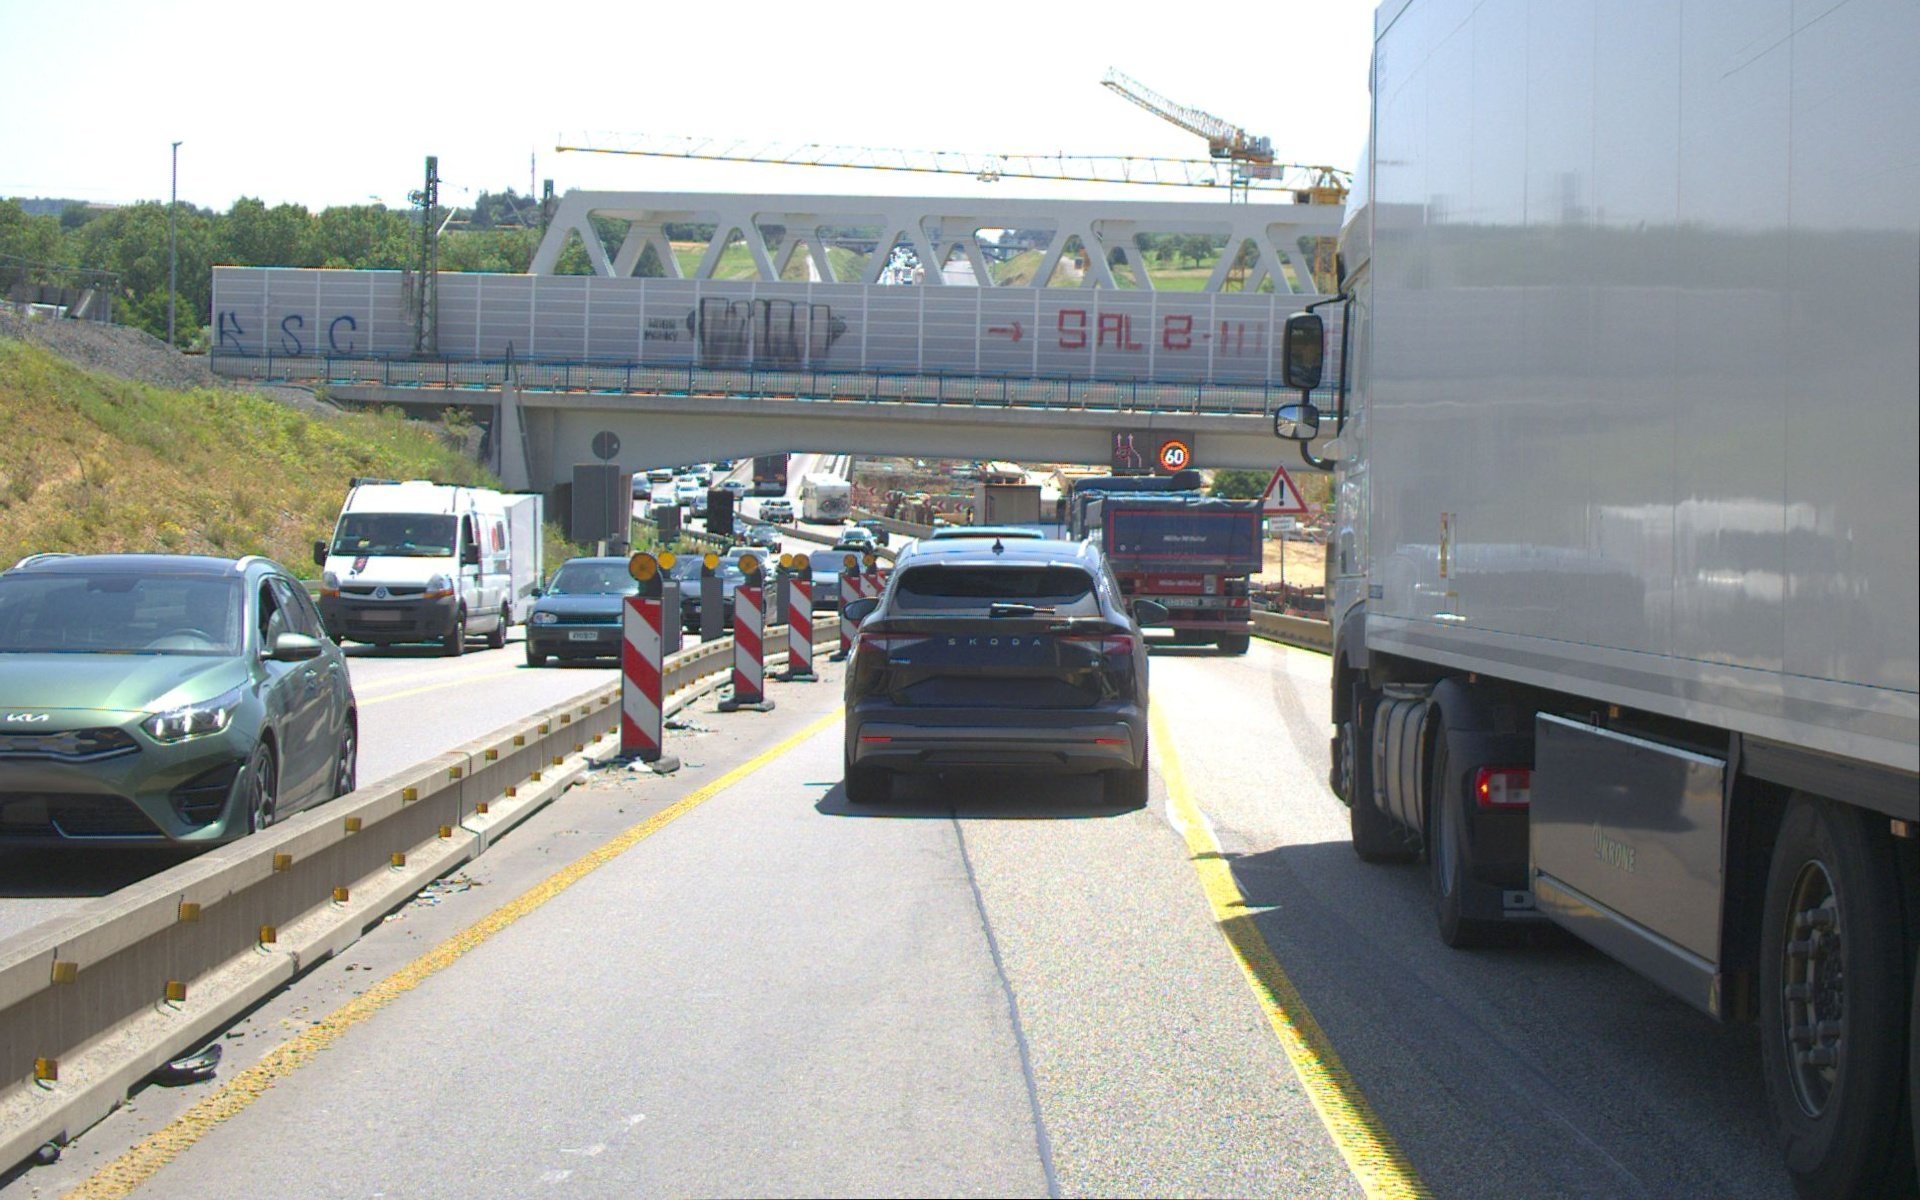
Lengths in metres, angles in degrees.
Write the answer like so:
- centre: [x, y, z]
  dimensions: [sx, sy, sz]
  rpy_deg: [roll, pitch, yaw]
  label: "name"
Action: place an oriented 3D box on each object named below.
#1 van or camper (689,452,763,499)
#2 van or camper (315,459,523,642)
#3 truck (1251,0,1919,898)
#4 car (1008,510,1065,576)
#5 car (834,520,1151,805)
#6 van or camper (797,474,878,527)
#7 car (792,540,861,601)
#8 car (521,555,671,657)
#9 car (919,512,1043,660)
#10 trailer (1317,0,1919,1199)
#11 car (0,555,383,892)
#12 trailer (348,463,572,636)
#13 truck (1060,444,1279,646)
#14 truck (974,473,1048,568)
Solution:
- centre: [-17.438, -9.261, 255.850]
  dimensions: [3.942, 3.408, 8.409]
  rpy_deg: [1, 2, -15]
  label: "van or camper"
- centre: [-7.742, -0.712, 49.654]
  dimensions: [2.216, 2.472, 4.751]
  rpy_deg: [1, 1, 0]
  label: "van or camper"
- centre: [3.086, -0.782, 17.381]
  dimensions: [2.776, 4.044, 4.905]
  rpy_deg: [1, 1, 0]
  label: "truck"
- centre: [2.695, -2.021, 121.581]
  dimensions: [1.661, 2.262, 3.797]
  rpy_deg: [2, 1, -3]
  label: "car"
- centre: [0.161, 0.333, 21.289]
  dimensions: [1.800, 1.615, 3.298]
  rpy_deg: [0, 1, -1]
  label: "car"
- centre: [-8.270, -6.676, 230.717]
  dimensions: [3.942, 3.408, 8.409]
  rpy_deg: [1, 2, -12]
  label: "van or camper"
- centre: [-3.208, -0.718, 83.060]
  dimensions: [1.501, 1.415, 3.176]
  rpy_deg: [1, 1, 0]
  label: "car"
- centre: [-4.761, 0.059, 45.286]
  dimensions: [1.610, 1.271, 3.167]
  rpy_deg: [1, 1, 0]
  label: "car"
- centre: [0.291, -0.216, 45.088]
  dimensions: [1.475, 1.789, 3.298]
  rpy_deg: [3, 1, 1]
  label: "car"
- centre: [3.081, -0.635, 8.940]
  dimensions: [2.801, 4.044, 14.117]
  rpy_deg: [1, 1, 0]
  label: "trailer"
- centre: [-3.959, 0.503, 16.705]
  dimensions: [1.666, 1.423, 4.000]
  rpy_deg: [0, 1, 0]
  label: "car"
- centre: [-7.719, -0.789, 54.053]
  dimensions: [2.216, 2.472, 8.527]
  rpy_deg: [1, 1, 0]
  label: "trailer"
- centre: [3.454, -0.995, 60.040]
  dimensions: [2.814, 3.124, 12.839]
  rpy_deg: [1, 1, -1]
  label: "truck"
- centre: [2.330, -3.709, 161.173]
  dimensions: [3.176, 4.303, 9.258]
  rpy_deg: [1, 1, -1]
  label: "truck"
